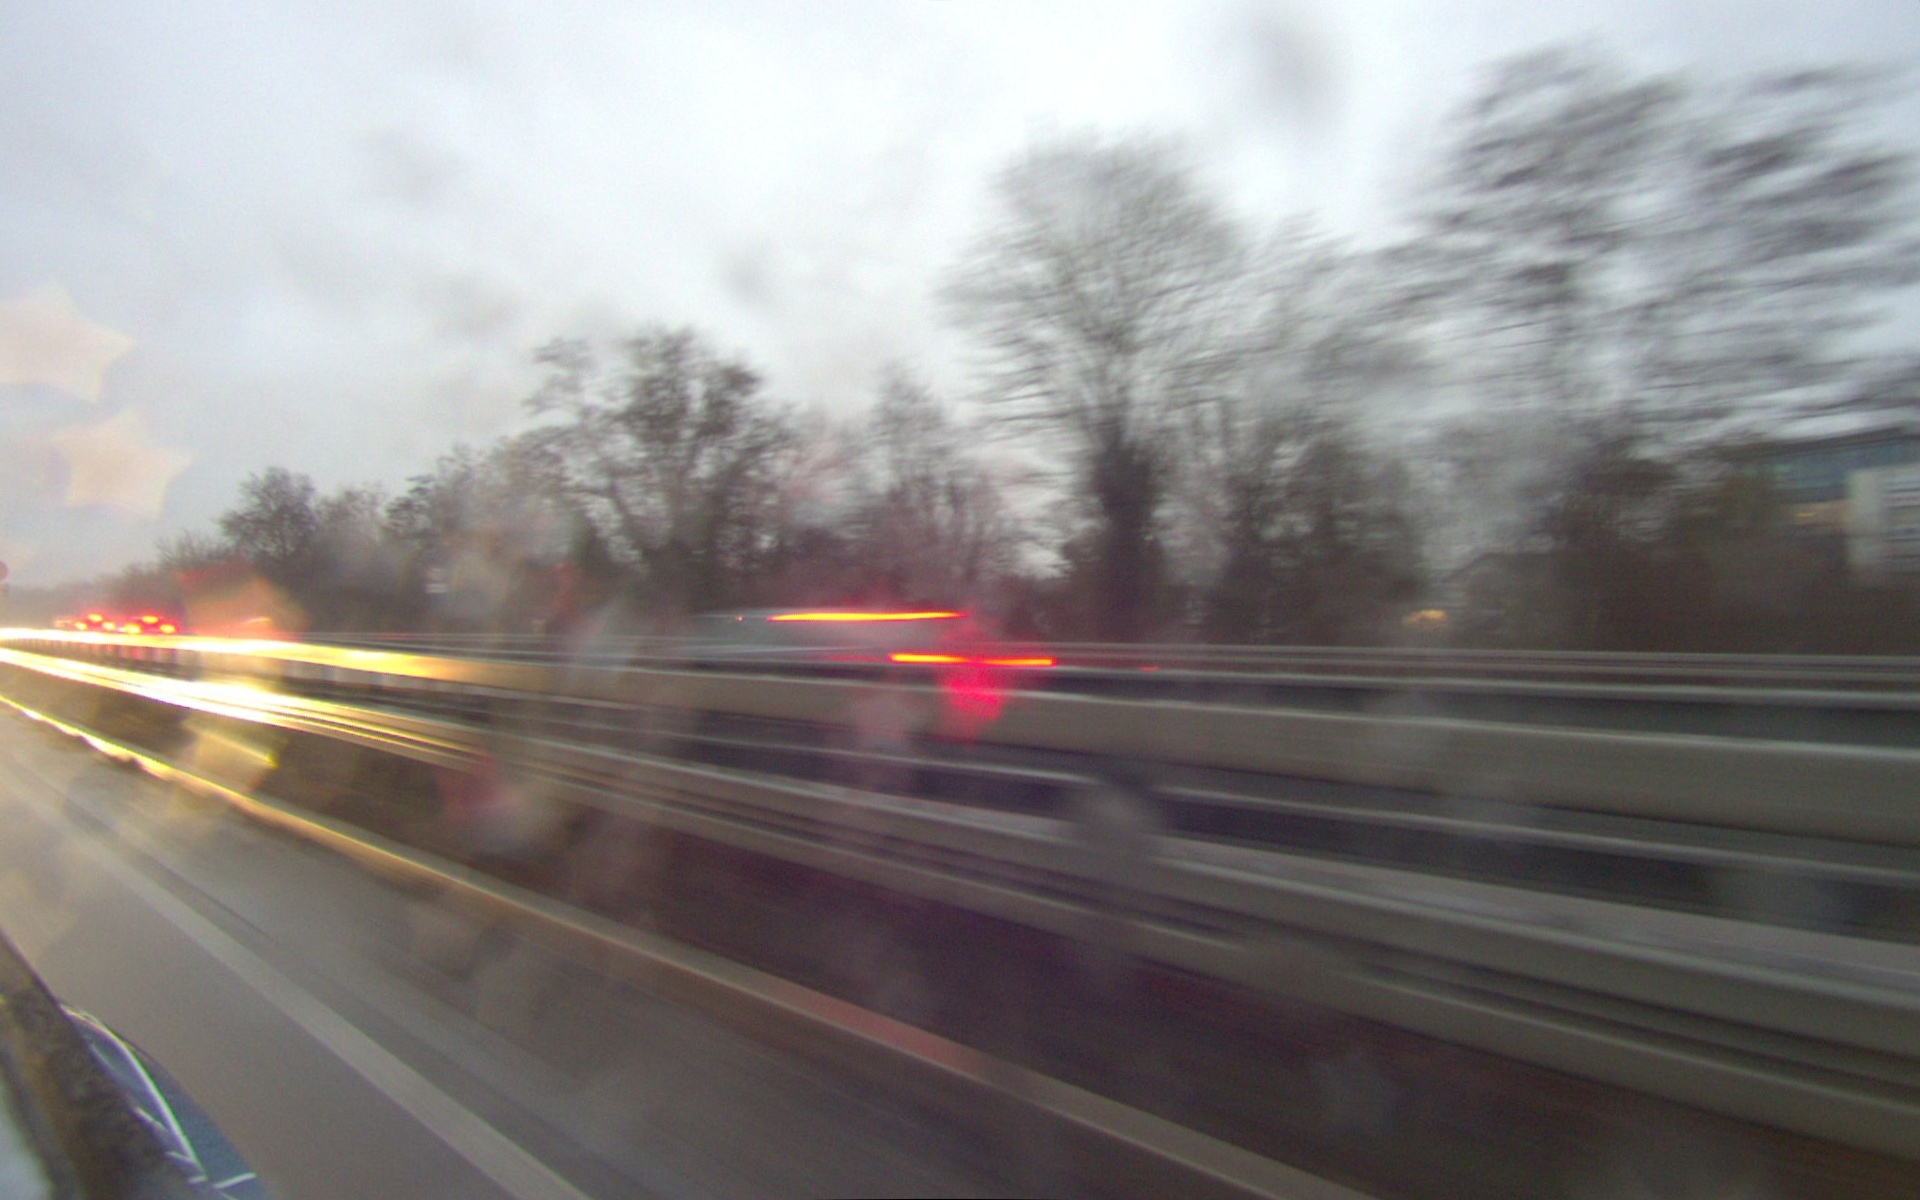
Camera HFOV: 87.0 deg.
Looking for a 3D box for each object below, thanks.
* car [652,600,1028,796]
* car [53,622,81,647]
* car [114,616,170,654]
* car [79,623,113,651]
[{"bbox_3d":[-1.402,0.892,10.835,3.998,1.652,1.722,-1,1,41],"label":"car"},{"bbox_3d":[-91.406,3.501,103.600,1.824,2.455,5.419,0,-1,-45],"label":"car"},{"bbox_3d":[-43.325,1.823,53.567,4.135,1.847,1.726,0,-1,43],"label":"car"},{"bbox_3d":[-65.359,2.729,76.580,1.911,1.988,4.544,0,0,-40],"label":"car"}]
